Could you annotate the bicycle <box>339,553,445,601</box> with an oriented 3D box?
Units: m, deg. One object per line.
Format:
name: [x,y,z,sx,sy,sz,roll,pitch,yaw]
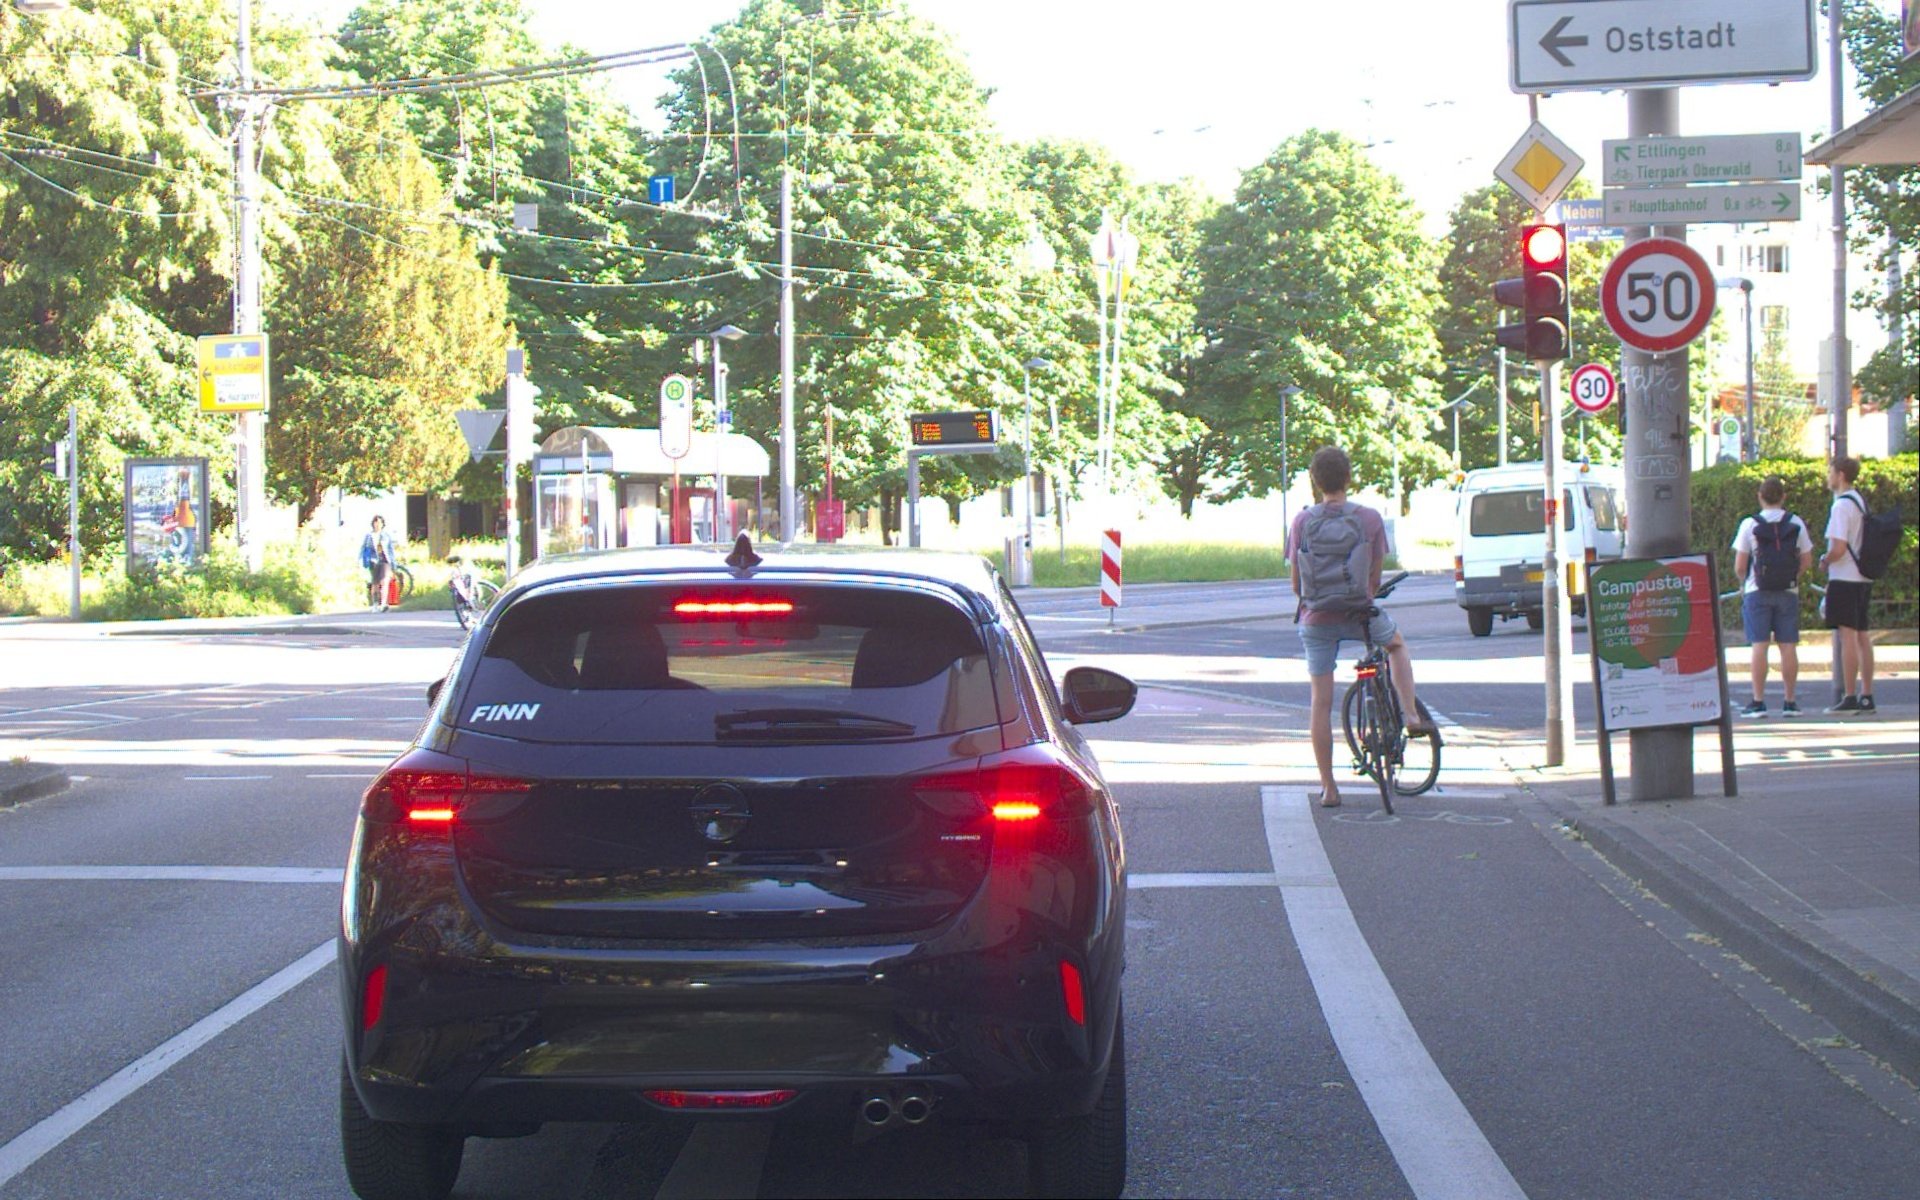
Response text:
bicycle: [-10.855,-0.439,65.696,1.877,0.903,0.659,0,1,7]

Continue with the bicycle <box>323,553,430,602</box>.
bicycle: [-10.994,-0.433,64.825,1.877,0.903,0.659,0,1,7]

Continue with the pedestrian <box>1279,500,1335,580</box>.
pedestrian: [7.819,-1.358,77.491,0.959,1.786,0.994,0,1,25]

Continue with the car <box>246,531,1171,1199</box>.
car: [-0.461,0.561,8.711,1.800,1.436,3.940,-1,1,1]

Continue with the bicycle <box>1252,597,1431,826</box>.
bicycle: [1.943,0.541,17.749,0.667,1.056,2.082,0,1,-1]

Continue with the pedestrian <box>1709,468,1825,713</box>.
pedestrian: [5.980,-0.076,25.496,0.698,1.786,0.617,-1,1,-1]

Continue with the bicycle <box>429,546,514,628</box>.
bicycle: [-6.616,-0.189,46.634,0.825,1.056,1.883,0,1,2]

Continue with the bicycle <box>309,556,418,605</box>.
bicycle: [-11.078,-0.364,63.841,1.877,0.903,0.659,0,1,7]

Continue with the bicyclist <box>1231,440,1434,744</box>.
bicyclist: [1.904,-0.058,17.737,0.840,1.504,1.369,0,1,-2]

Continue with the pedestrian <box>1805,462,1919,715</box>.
pedestrian: [6.759,-0.093,25.520,0.704,1.840,0.699,0,2,39]

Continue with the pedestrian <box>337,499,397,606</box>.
pedestrian: [-9.444,-0.768,54.768,0.698,1.687,0.728,-1,1,-32]

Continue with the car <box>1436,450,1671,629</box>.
car: [7.993,-0.788,46.023,2.092,2.270,4.301,1,1,24]
